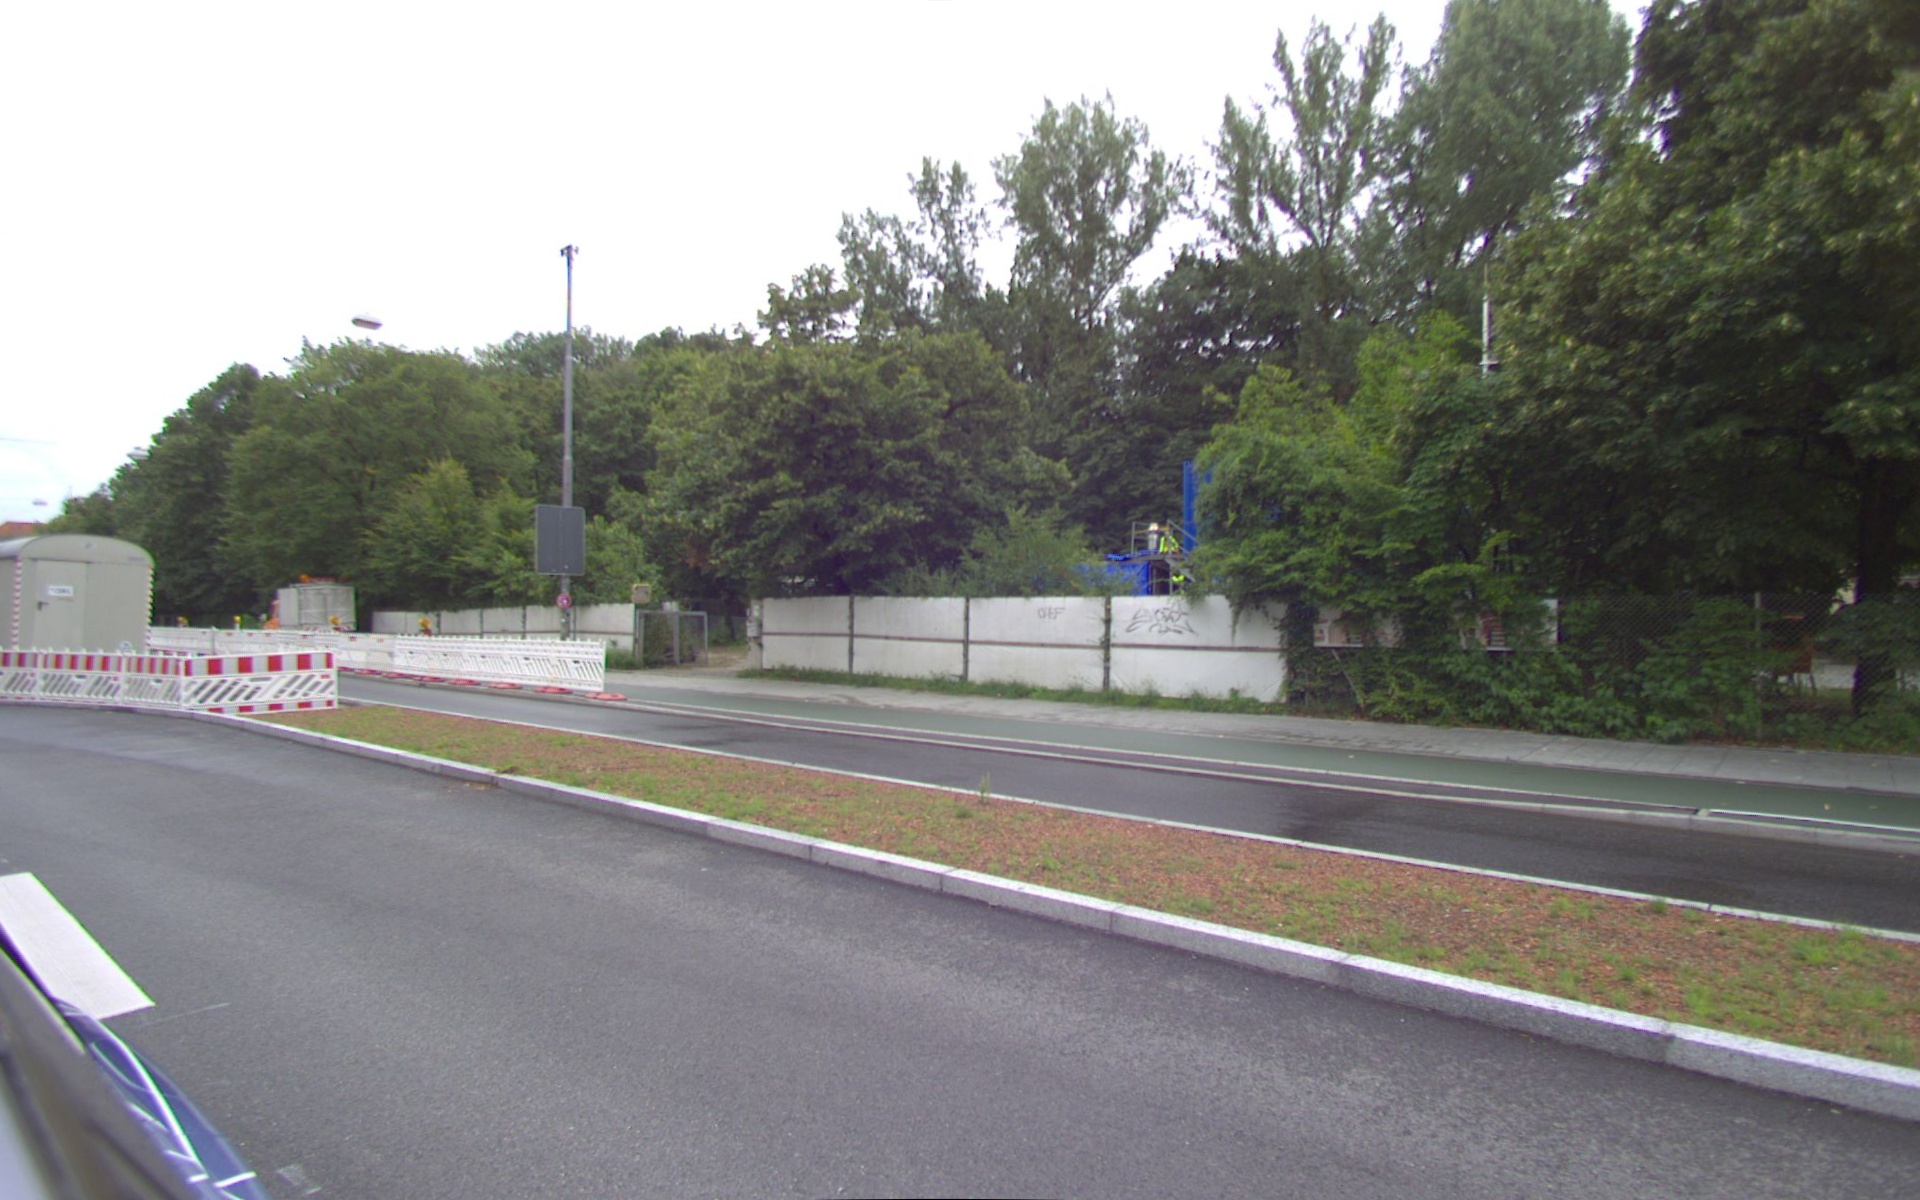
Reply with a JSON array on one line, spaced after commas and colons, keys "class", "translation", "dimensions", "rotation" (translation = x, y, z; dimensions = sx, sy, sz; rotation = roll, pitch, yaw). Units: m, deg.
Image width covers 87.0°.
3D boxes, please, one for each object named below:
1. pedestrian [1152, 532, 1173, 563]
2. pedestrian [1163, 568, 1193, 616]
[{"class": "pedestrian", "translation": [8.291, -2.155, 41.401], "dimensions": [0.789, 1.194, 0.679], "rotation": [-1, -2, 18]}, {"class": "pedestrian", "translation": [8.281, -0.275, 38.431], "dimensions": [0.832, 1.788, 0.786], "rotation": [-1, -2, 36]}]
